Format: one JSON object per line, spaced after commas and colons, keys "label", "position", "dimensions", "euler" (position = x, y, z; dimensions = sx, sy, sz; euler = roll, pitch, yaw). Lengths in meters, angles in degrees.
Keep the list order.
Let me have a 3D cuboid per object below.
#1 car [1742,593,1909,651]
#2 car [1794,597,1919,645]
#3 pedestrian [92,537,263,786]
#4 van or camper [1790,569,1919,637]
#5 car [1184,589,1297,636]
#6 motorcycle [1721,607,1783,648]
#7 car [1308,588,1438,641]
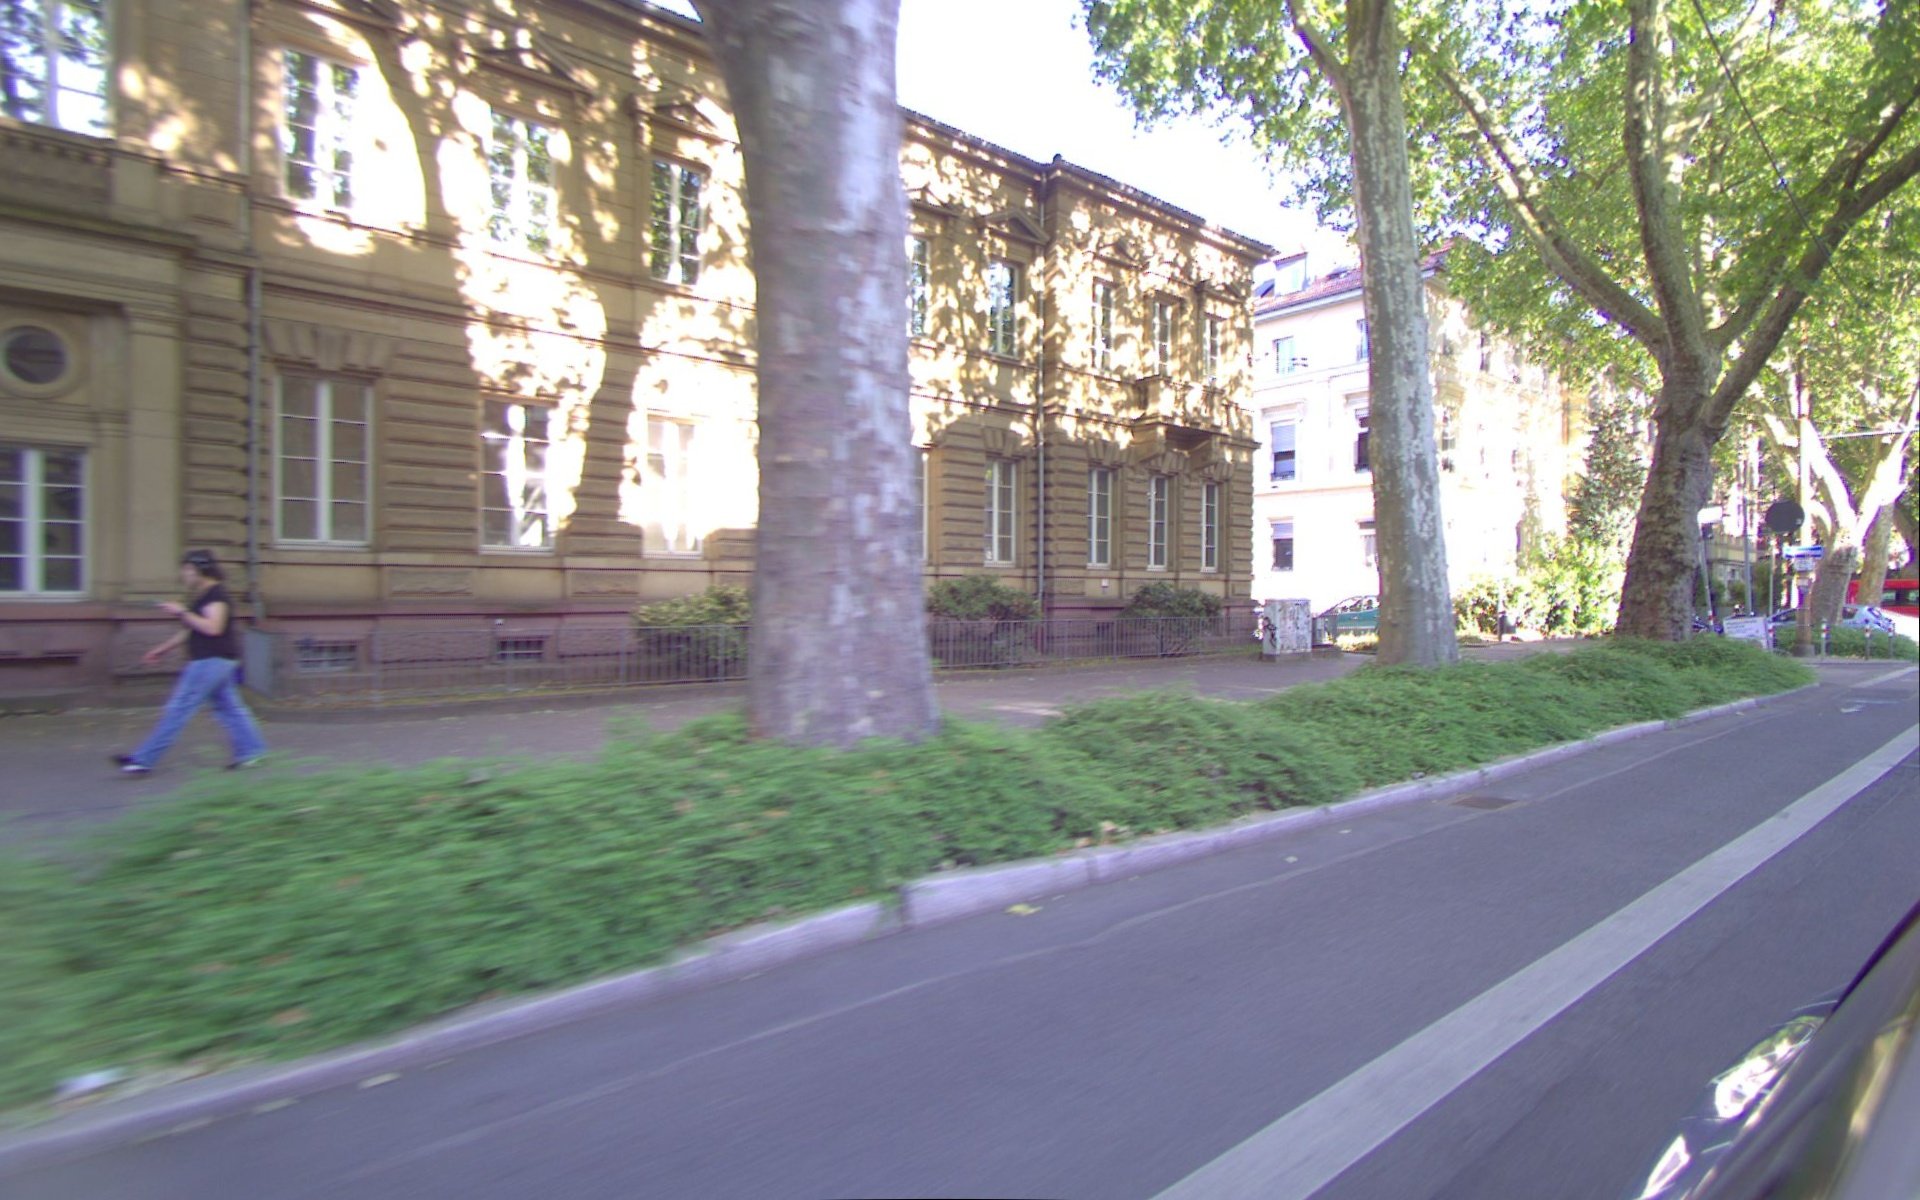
{"label": "car", "position": [26.284, 0.617, 30.809], "dimensions": [1.588, 1.562, 3.674], "euler": [-3, 3, -41]}
{"label": "car", "position": [30.373, 0.661, 33.801], "dimensions": [1.588, 1.435, 3.674], "euler": [-3, 3, -41]}
{"label": "pedestrian", "position": [-5.947, 0.429, 7.727], "dimensions": [0.989, 1.758, 0.652], "euler": [0, 0, -38]}
{"label": "van or camper", "position": [36.792, 0.097, 40.016], "dimensions": [2.185, 2.528, 5.919], "euler": [-3, 3, -43]}
{"label": "car", "position": [10.363, 0.415, 37.551], "dimensions": [1.707, 1.562, 3.704], "euler": [-3, 3, -41]}
{"label": "motorcycle", "position": [21.367, 0.744, 27.326], "dimensions": [1.252, 1.067, 0.394], "euler": [1, 0, 13]}
{"label": "car", "position": [13.584, 0.414, 33.406], "dimensions": [1.707, 1.562, 3.569], "euler": [-3, 3, -41]}
